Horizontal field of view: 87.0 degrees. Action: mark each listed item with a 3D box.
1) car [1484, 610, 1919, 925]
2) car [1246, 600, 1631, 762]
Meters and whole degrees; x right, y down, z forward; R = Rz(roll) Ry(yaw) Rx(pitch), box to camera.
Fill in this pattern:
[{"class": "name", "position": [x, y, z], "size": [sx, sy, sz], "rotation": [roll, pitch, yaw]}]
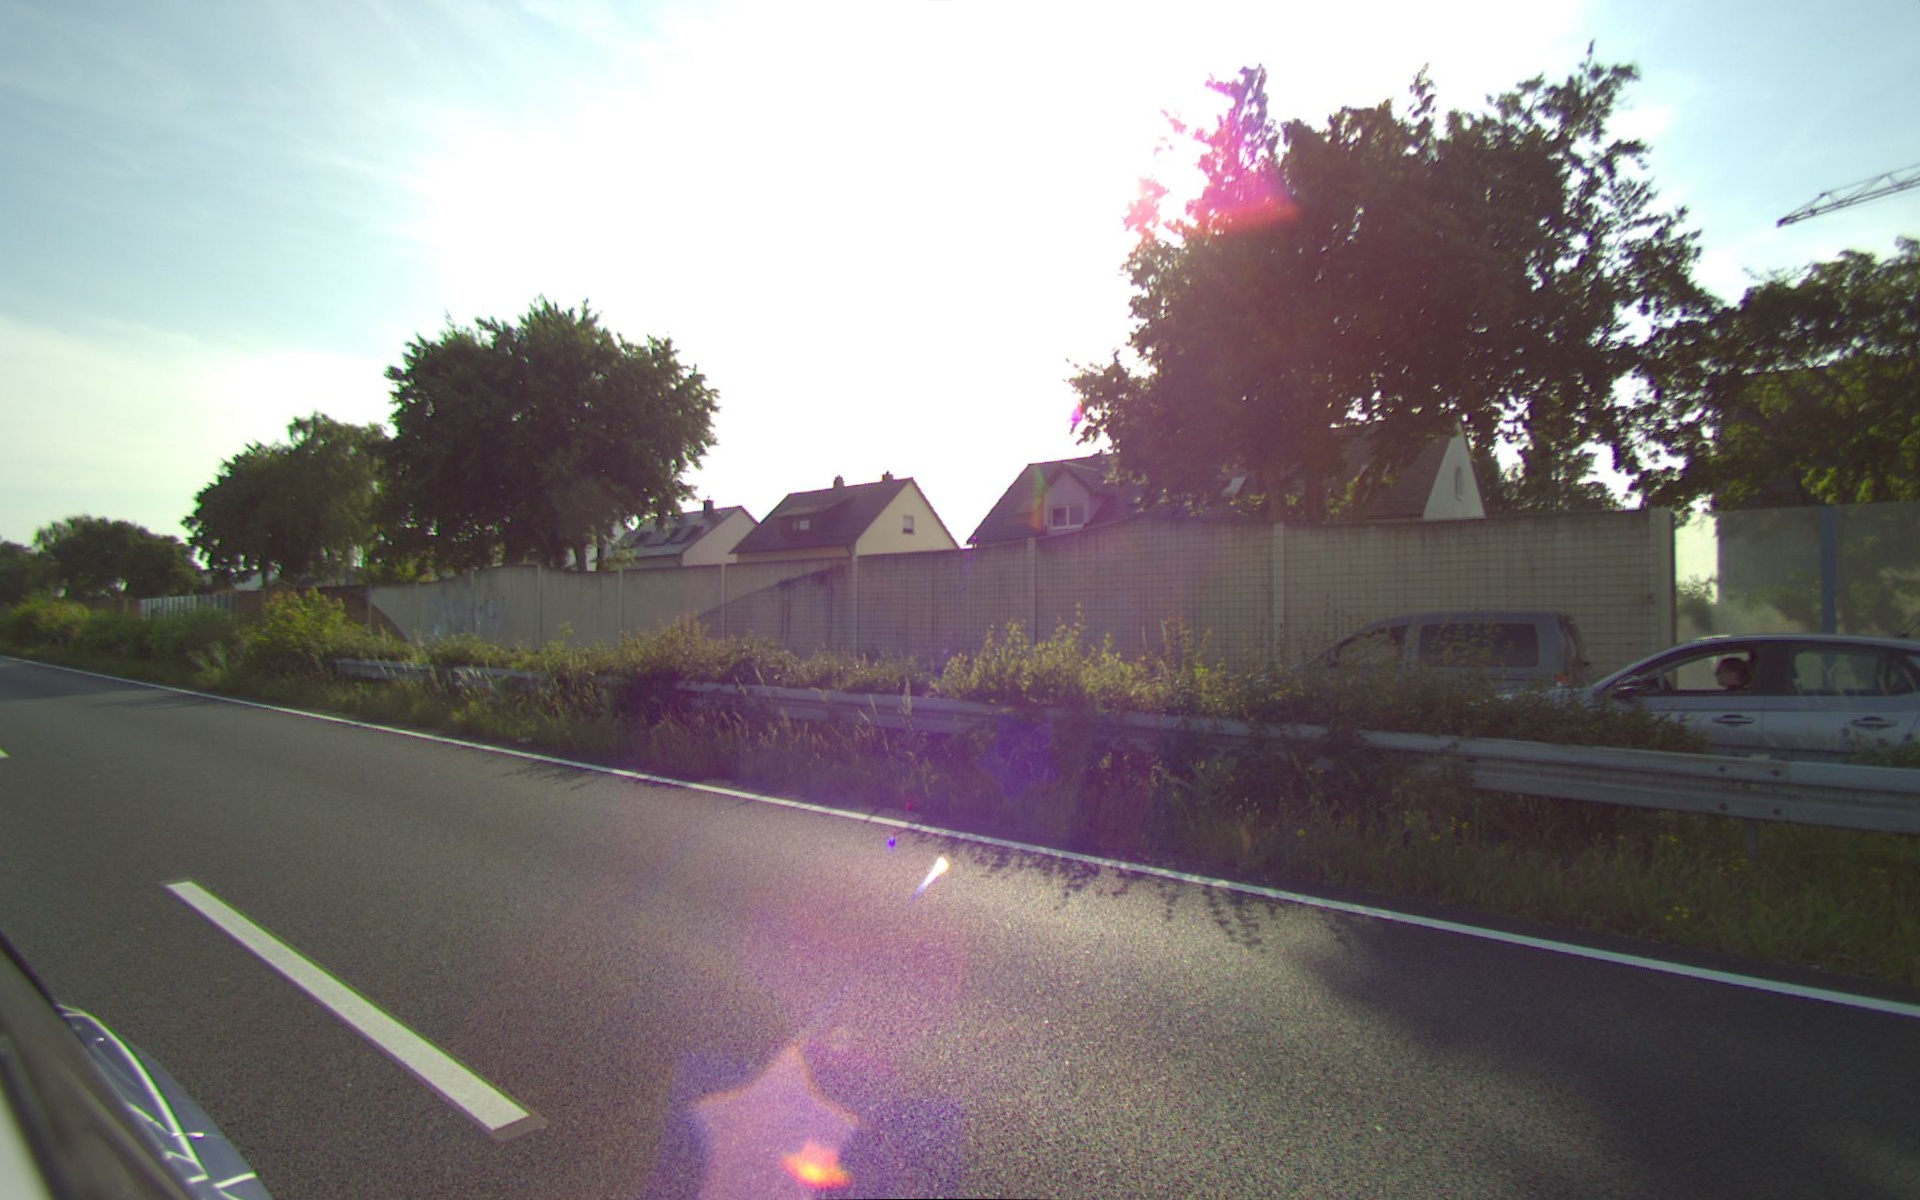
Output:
[{"class": "car", "position": [6.211, 1.111, 7.845], "size": [3.489, 2.029, 1.790], "rotation": [-1, 0, 41]}, {"class": "car", "position": [6.223, 0.927, 13.449], "size": [4.298, 1.808, 1.818], "rotation": [-1, 0, 41]}]
